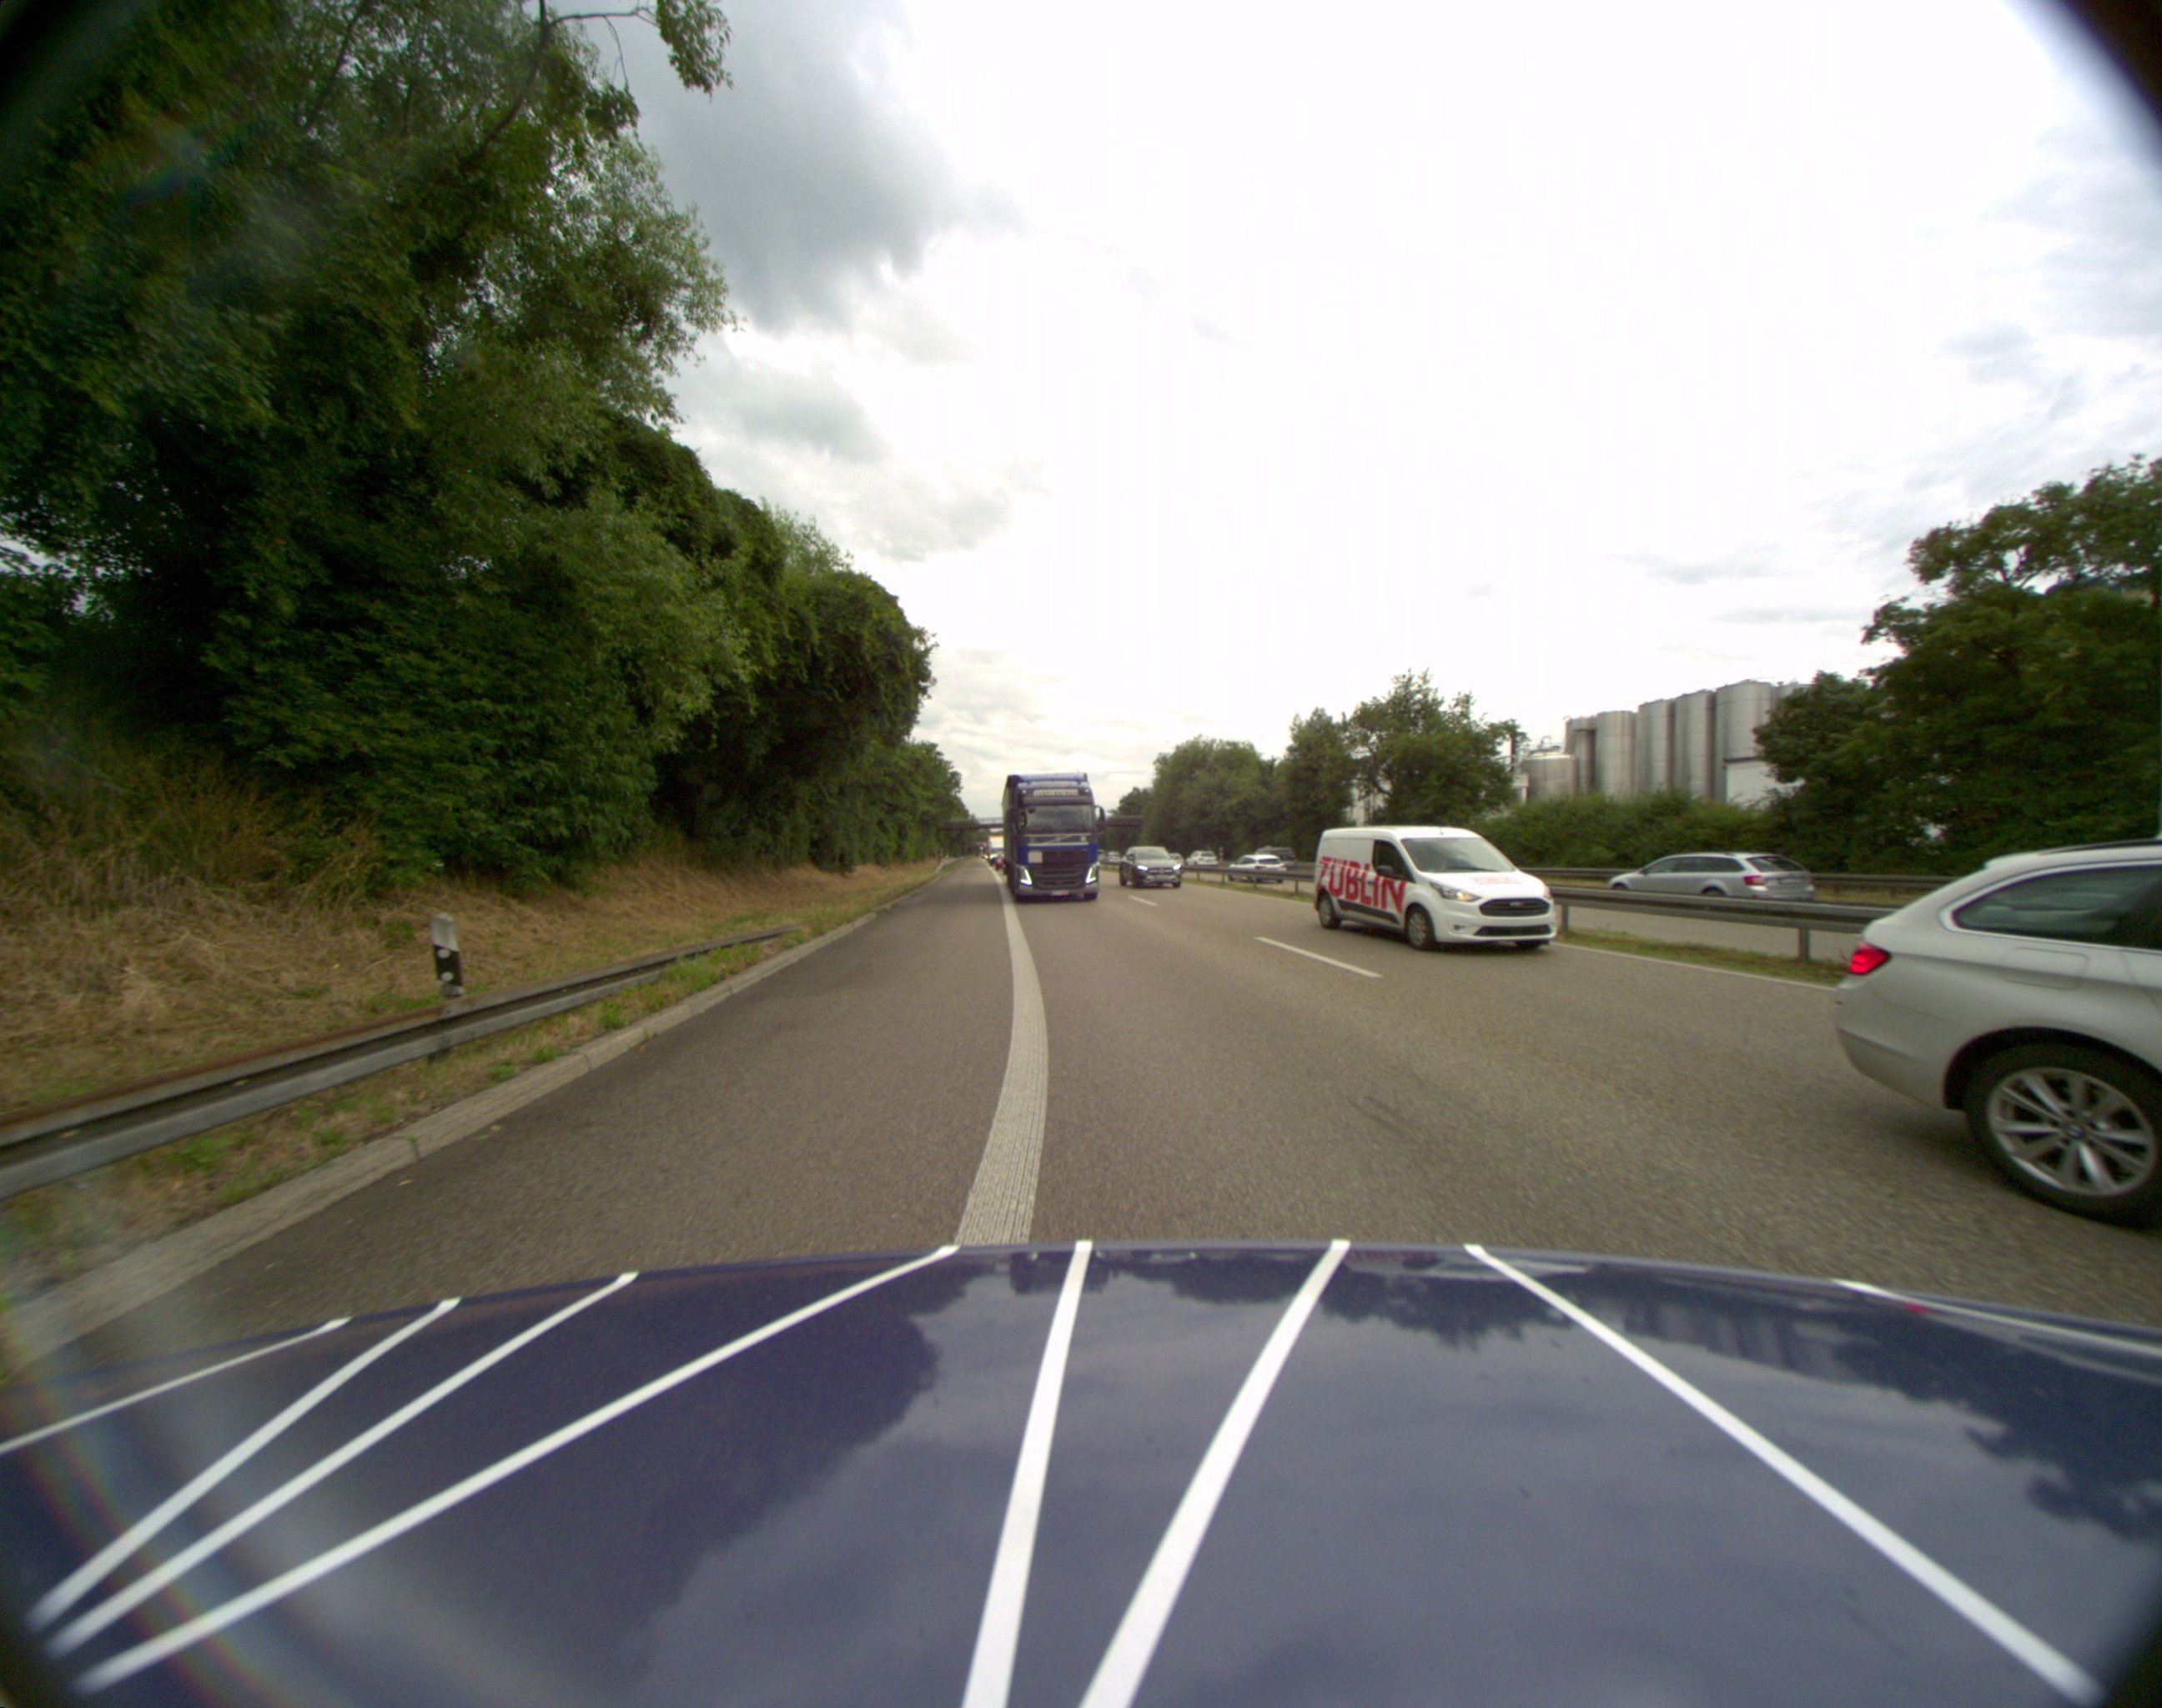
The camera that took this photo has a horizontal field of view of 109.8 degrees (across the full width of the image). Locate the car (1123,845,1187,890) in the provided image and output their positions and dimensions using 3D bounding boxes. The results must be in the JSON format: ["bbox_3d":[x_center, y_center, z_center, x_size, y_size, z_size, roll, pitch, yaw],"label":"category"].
[{"bbox_3d":[2.860,0.493,30.138,1.849,1.642,3.998,0,0,-4],"label":"car"}]

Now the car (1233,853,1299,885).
[{"bbox_3d":[9.408,0.707,39.041,1.866,1.518,4.397,0,1,-7],"label":"car"}]

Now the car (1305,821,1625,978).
[{"bbox_3d":[5.305,0.524,11.485,1.852,1.839,5.003,0,0,-7],"label":"car"}]

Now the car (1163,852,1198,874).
[{"bbox_3d":[7.078,0.598,54.432,1.470,1.514,3.553,0,1,-10],"label":"car"}]

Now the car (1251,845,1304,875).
[{"bbox_3d":[12.012,0.324,46.738,1.579,1.756,4.275,0,0,-9],"label":"car"}]

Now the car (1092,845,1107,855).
[{"bbox_3d":[2.884,-0.606,120.020,1.699,1.608,3.996,0,0,-9],"label":"car"}]

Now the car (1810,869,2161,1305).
[{"bbox_3d":[4.858,0.825,1.229,2.064,1.455,5.255,0,0,-5],"label":"car"}]

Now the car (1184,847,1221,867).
[{"bbox_3d":[10.532,0.248,66.047,1.732,1.624,4.759,-2,1,-9],"label":"car"}]

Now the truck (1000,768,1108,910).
[{"bbox_3d":[-1.131,-0.462,25.239,2.962,3.946,7.466,-1,1,-6],"label":"truck"}]

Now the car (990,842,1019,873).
[{"bbox_3d":[-5.189,0.224,51.156,1.752,2.002,3.996,-1,1,-9],"label":"car"}]

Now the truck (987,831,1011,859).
[{"bbox_3d":[-12.870,-1.453,118.615,3.367,4.041,10.175,-2,1,-8],"label":"truck"}]

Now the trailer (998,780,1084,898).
[{"bbox_3d":[-2.065,-0.617,32.723,2.846,4.013,13.076,-2,1,-6],"label":"trailer"}]

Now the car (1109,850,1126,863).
[{"bbox_3d":[4.355,0.289,91.361,1.610,1.447,3.998,0,0,-4],"label":"car"}]

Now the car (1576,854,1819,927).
[{"bbox_3d":[15.490,0.821,19.595,1.699,1.582,5.275,0,0,-4],"label":"car"}]

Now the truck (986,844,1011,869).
[{"bbox_3d":[-7.078,0.198,65.468,1.895,2.002,6.088,0,0,-4],"label":"truck"}]

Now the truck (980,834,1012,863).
[{"bbox_3d":[-9.984,-0.657,88.732,3.368,3.099,7.233,-2,1,-9],"label":"truck"}]
